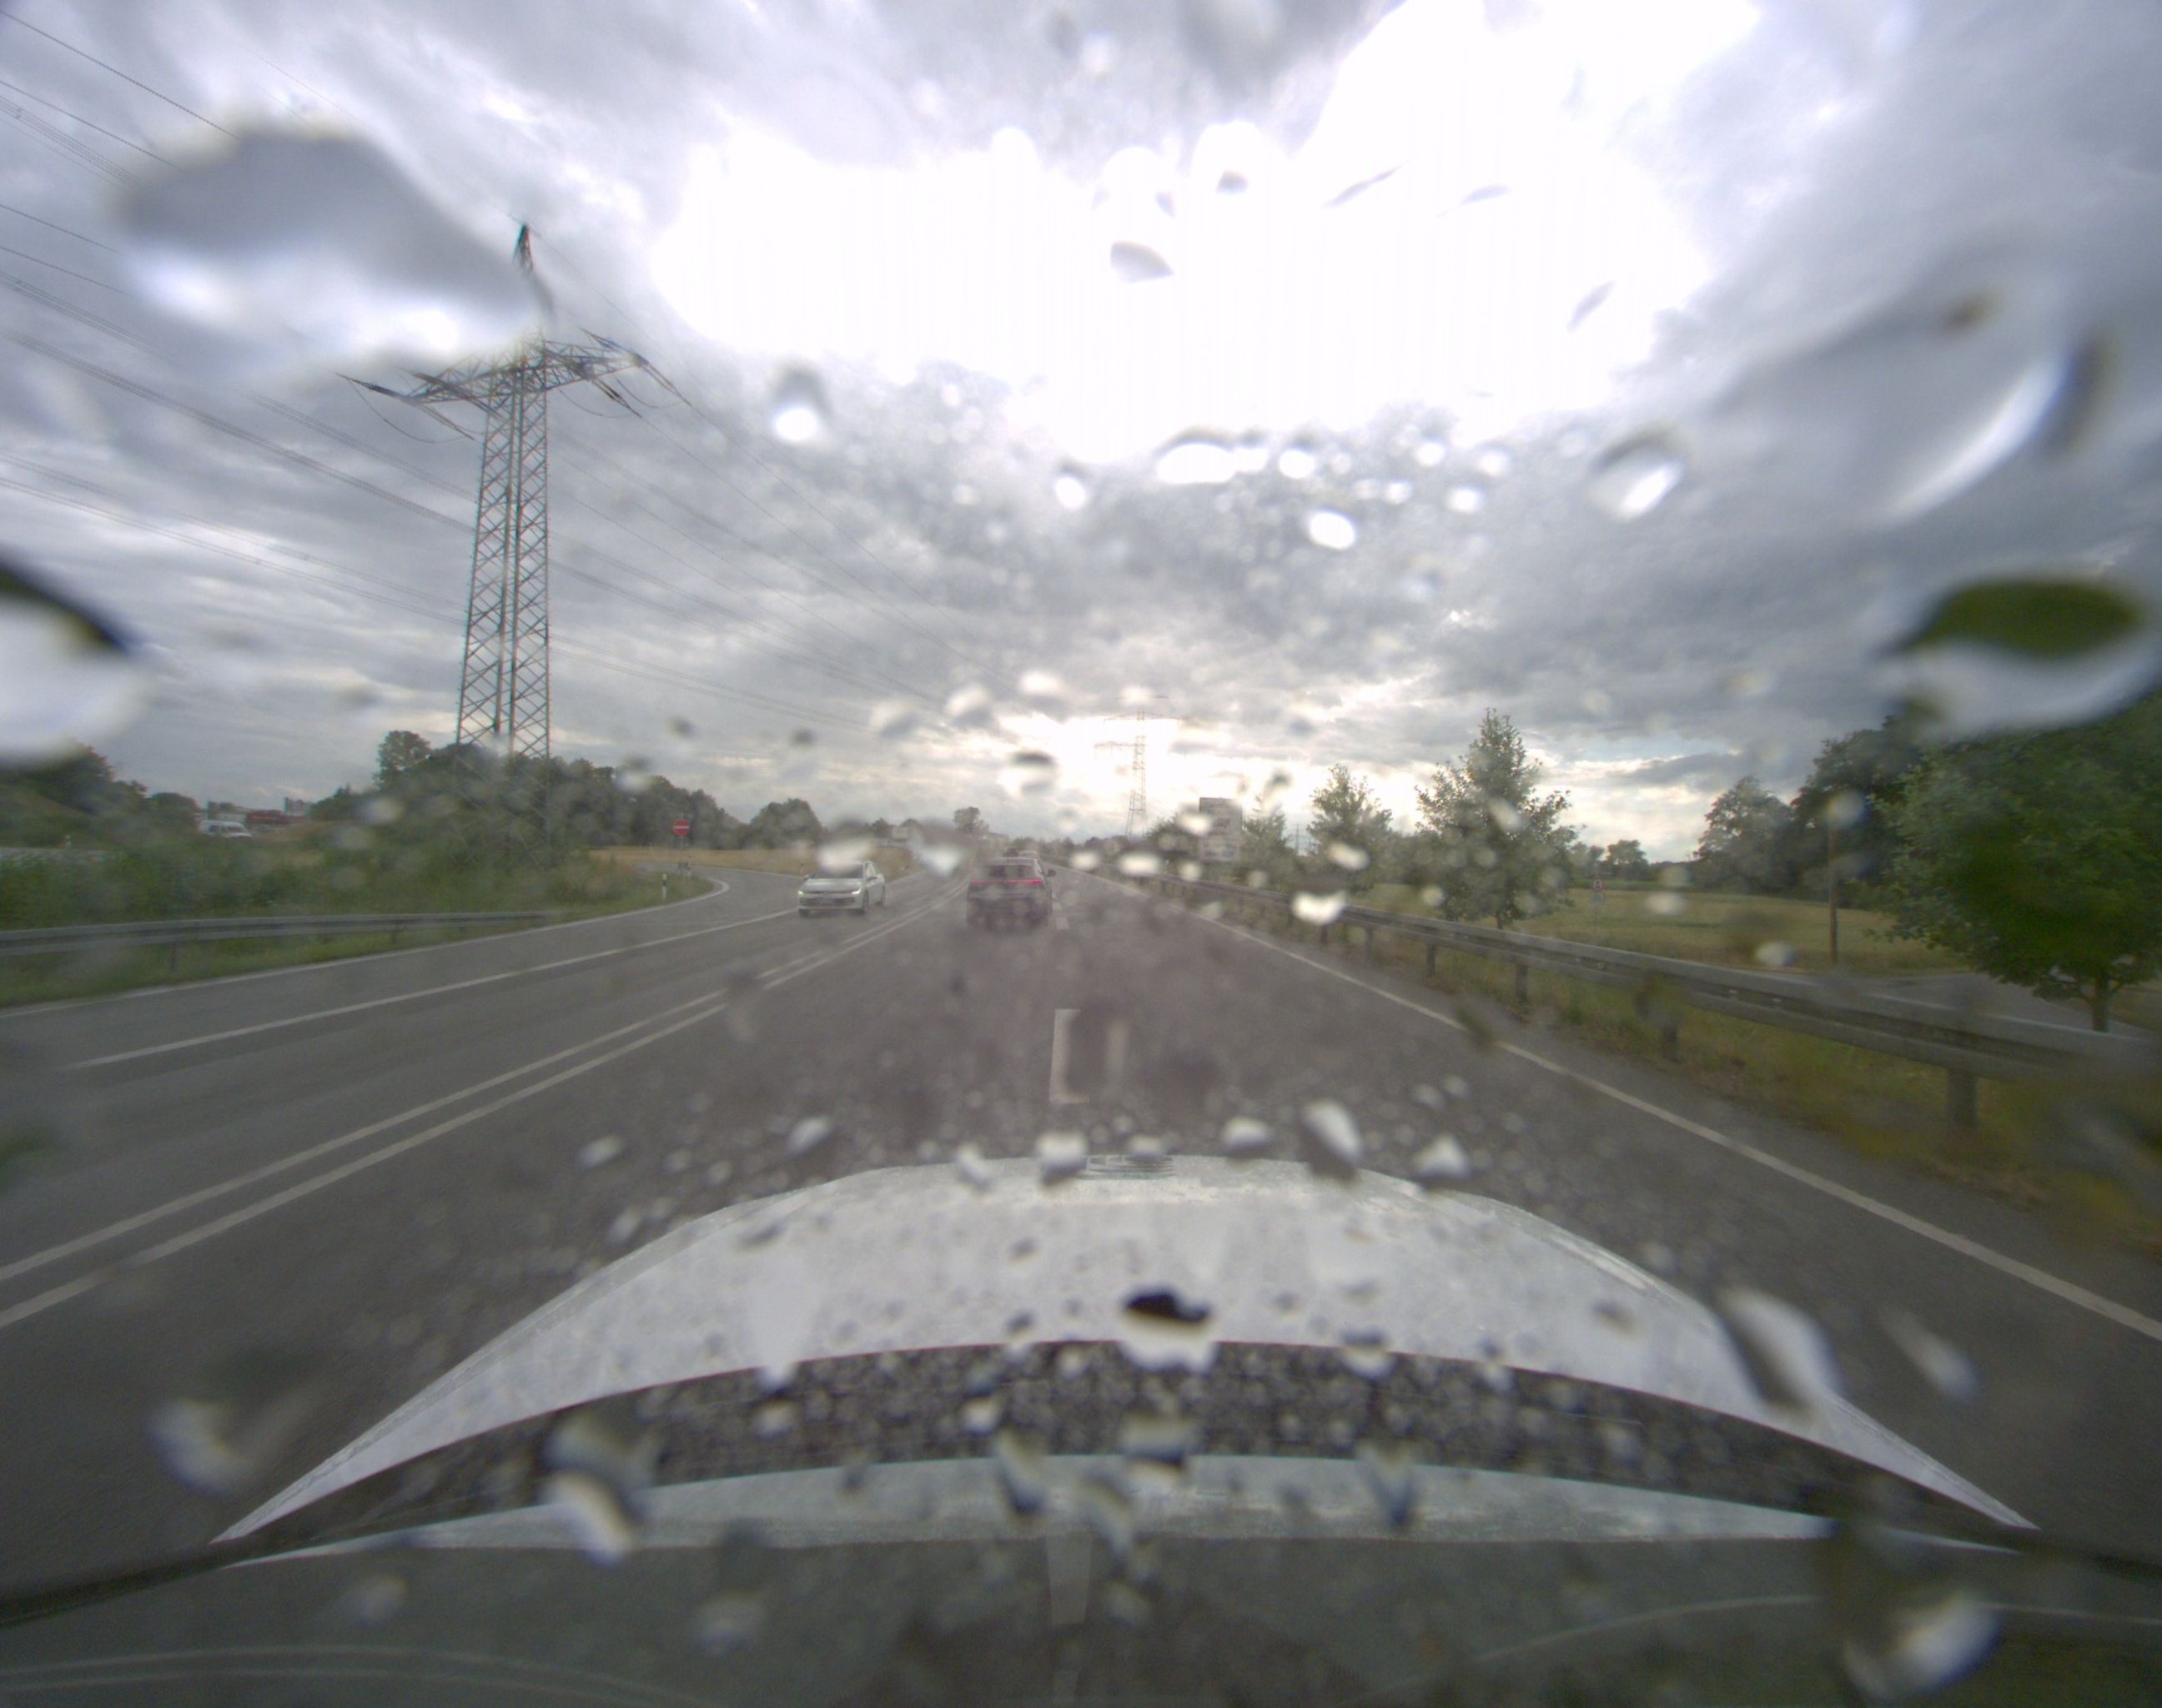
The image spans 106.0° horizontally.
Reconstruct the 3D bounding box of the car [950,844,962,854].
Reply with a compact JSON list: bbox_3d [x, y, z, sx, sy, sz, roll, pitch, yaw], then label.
[{"bbox_3d":[-20.794,-0.850,135.407,1.792,1.688,3.984,0,-1,-12],"label":"car"}]

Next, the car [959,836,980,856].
[{"bbox_3d":[-15.416,-1.035,112.225,2.573,2.725,7.171,0,0,-10],"label":"car"}]

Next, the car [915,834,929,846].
[{"bbox_3d":[-34.235,-2.993,175.341,2.608,2.250,5.504,0,-1,-16],"label":"car"}]

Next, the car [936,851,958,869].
[{"bbox_3d":[-12.239,0.506,74.402,1.798,1.594,4.215,0,1,-7],"label":"car"}]

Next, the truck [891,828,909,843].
[{"bbox_3d":[-44.171,-4.494,199.065,3.058,3.385,7.587,0,-1,-22],"label":"truck"}]

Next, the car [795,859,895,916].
[{"bbox_3d":[-6.695,0.918,23.626,1.701,1.480,4.606,0,-1,-2],"label":"car"}]

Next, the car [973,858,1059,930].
[{"bbox_3d":[-1.429,0.833,18.914,1.787,1.441,3.996,0,0,-3],"label":"car"}]

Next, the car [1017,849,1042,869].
[{"bbox_3d":[-4.001,0.402,63.007,1.789,1.441,3.991,-1,-1,-6],"label":"car"}]

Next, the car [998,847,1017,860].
[{"bbox_3d":[-9.101,-0.032,101.003,1.793,1.541,3.983,-2,0,-13],"label":"car"}]
